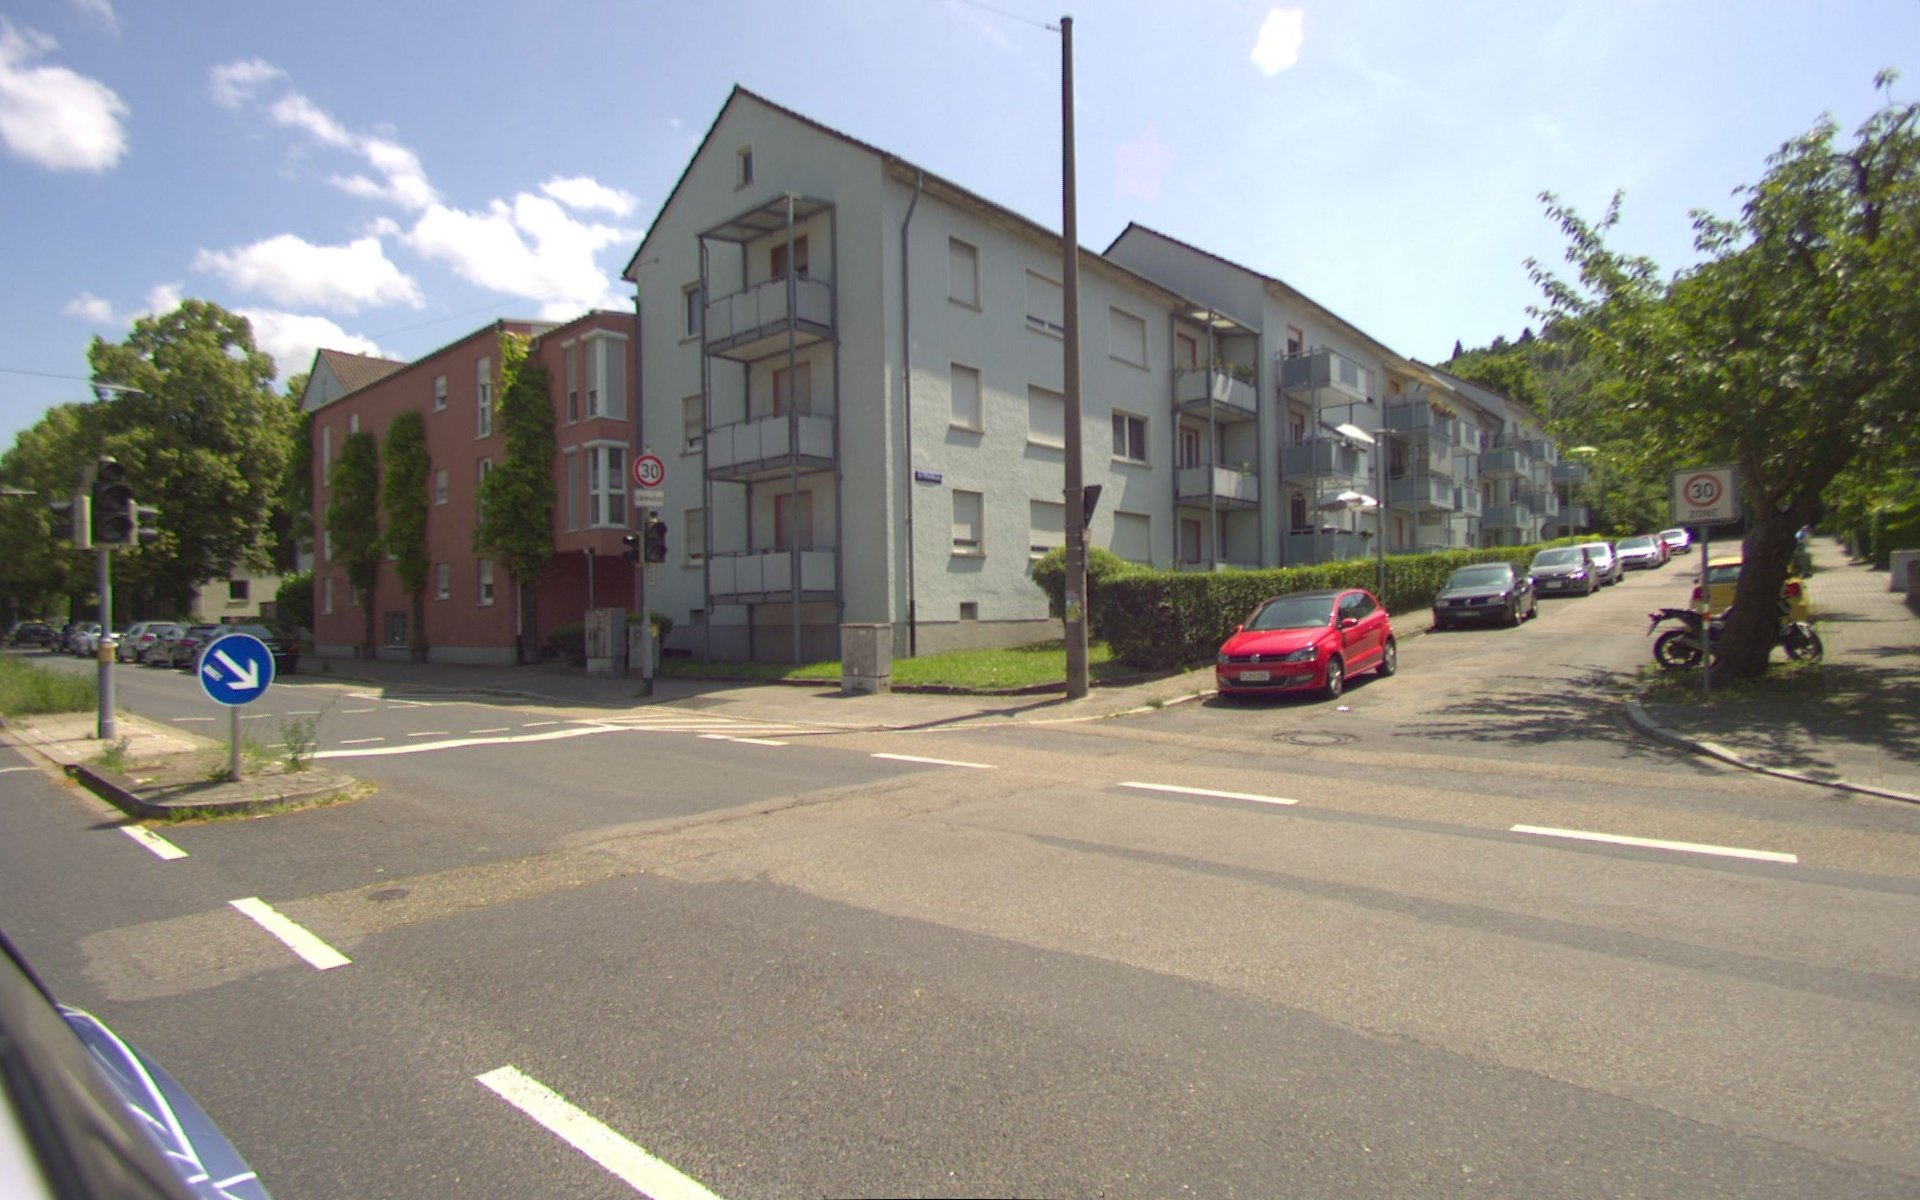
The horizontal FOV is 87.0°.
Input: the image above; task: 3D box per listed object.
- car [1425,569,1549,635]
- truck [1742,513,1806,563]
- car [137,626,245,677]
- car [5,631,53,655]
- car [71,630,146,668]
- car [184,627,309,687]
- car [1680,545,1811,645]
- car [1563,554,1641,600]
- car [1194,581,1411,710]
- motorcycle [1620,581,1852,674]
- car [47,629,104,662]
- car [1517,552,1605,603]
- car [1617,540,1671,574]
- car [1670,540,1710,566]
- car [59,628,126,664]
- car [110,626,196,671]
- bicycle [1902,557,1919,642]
[{"bbox_3d":[12.311,0.026,23.534,1.731,1.160,3.742,-6,0,40],"label":"car"},{"bbox_3d":[37.335,-2.881,46.349,2.105,2.050,5.371,-2,3,40],"label":"truck"},{"bbox_3d":[-25.436,1.657,33.429,4.564,1.551,1.867,-1,-1,40],"label":"car"},{"bbox_3d":[-56.971,2.606,61.908,3.605,1.343,1.735,-1,0,40],"label":"car"},{"bbox_3d":[-35.321,1.994,41.937,3.997,1.453,1.730,-1,0,40],"label":"car"},{"bbox_3d":[-20.661,1.591,29.231,4.564,1.551,1.867,-1,-1,40],"label":"car"},{"bbox_3d":[14.452,-0.138,18.546,1.654,1.424,3.741,-5,1,40],"label":"car"},{"bbox_3d":[22.117,-0.803,34.789,1.731,1.239,3.742,-6,0,40],"label":"car"},{"bbox_3d":[5.254,0.603,15.218,1.731,1.462,3.948,-3,2,40],"label":"car"},{"bbox_3d":[10.987,0.394,14.454,2.372,1.042,0.922,-6,0,22],"label":"motorcycle"},{"bbox_3d":[-43.752,2.226,50.042,3.997,1.519,1.552,-1,0,40],"label":"car"},{"bbox_3d":[18.725,-0.725,31.456,1.731,1.239,3.742,-6,0,40],"label":"car"},{"bbox_3d":[30.548,-1.933,45.148,1.558,1.239,3.742,-6,0,40],"label":"car"},{"bbox_3d":[42.381,-2.739,58.760,1.558,1.239,3.742,-6,0,40],"label":"car"},{"bbox_3d":[-39.930,2.090,46.568,3.997,1.519,1.730,-1,0,40],"label":"car"},{"bbox_3d":[-29.962,1.770,37.551,3.997,1.519,1.730,-1,0,40],"label":"car"},{"bbox_3d":[14.869,-0.003,15.249,0.756,1.244,2.235,-2,-1,38],"label":"bicycle"}]
